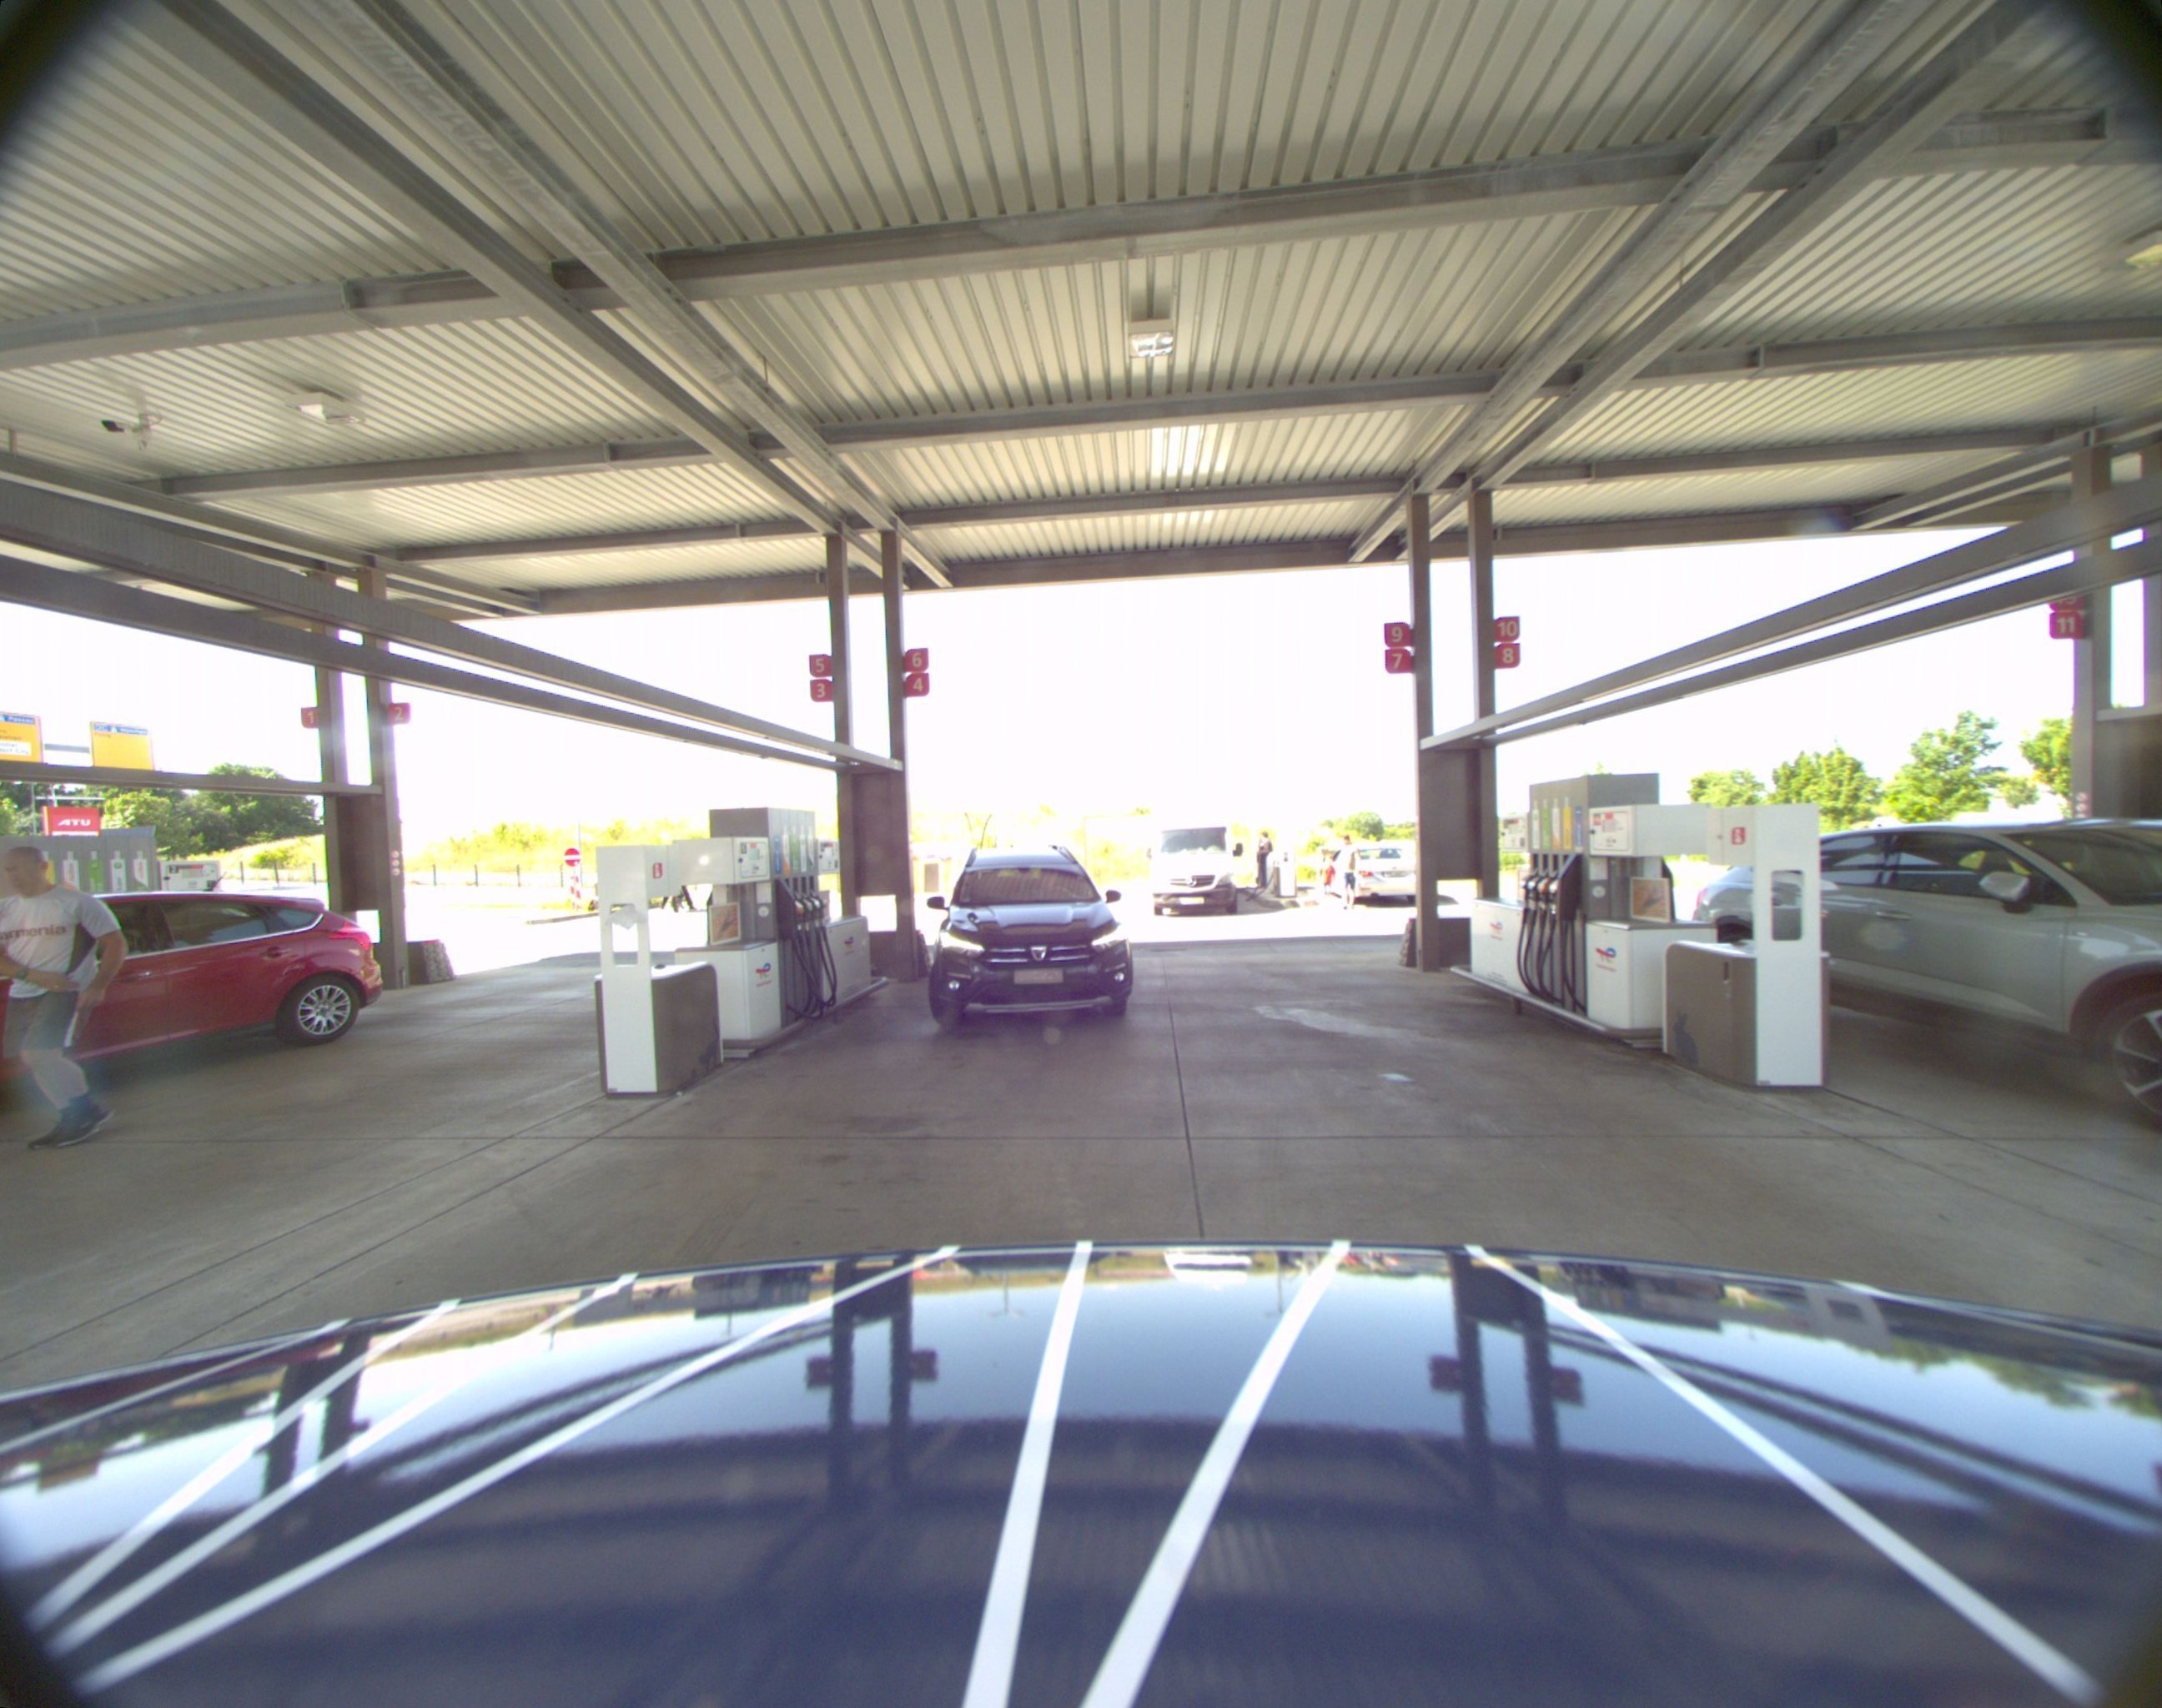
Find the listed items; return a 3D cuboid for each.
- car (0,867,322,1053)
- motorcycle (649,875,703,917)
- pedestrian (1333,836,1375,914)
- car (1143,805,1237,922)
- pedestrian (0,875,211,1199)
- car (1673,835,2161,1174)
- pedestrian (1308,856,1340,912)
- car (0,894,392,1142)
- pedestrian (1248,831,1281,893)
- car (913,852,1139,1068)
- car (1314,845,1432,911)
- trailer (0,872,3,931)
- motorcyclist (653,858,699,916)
[{"bbox_3d":[-12.207,1.116,9.145,2.035,1.840,4.793,-1,0,-12],"label":"car"},{"bbox_3d":[-12.303,1.246,23.160,1.046,1.099,2.411,-2,1,-19],"label":"motorcycle"},{"bbox_3d":[6.310,0.469,17.579,0.708,1.739,0.845,-1,1,7],"label":"pedestrian"},{"bbox_3d":[3.106,0.063,20.214,1.997,2.557,7.034,-1,3,12],"label":"car"},{"bbox_3d":[-6.019,0.997,4.463,0.703,1.693,0.927,-2,1,-9],"label":"pedestrian"},{"bbox_3d":[5.975,0.677,4.552,1.784,1.532,4.327,-2,1,6],"label":"car"},{"bbox_3d":[5.744,0.697,17.975,0.577,1.299,0.669,-1,1,7],"label":"pedestrian"},{"bbox_3d":[-7.881,1.166,5.480,1.702,1.460,4.234,-2,0,5],"label":"car"},{"bbox_3d":[5.406,0.231,22.454,0.844,1.759,0.710,-1,1,9],"label":"pedestrian"},{"bbox_3d":[-0.681,0.820,8.324,1.743,1.635,4.629,-2,0,-7],"label":"car"},{"bbox_3d":[7.386,0.534,19.690,1.791,1.420,4.322,-2,2,6],"label":"car"},{"bbox_3d":[-32.666,1.150,20.911,2.003,2.413,3.990,-2,1,-32],"label":"trailer"},{"bbox_3d":[-12.286,0.970,23.073,1.035,1.678,1.097,-2,1,-19],"label":"motorcyclist"}]
